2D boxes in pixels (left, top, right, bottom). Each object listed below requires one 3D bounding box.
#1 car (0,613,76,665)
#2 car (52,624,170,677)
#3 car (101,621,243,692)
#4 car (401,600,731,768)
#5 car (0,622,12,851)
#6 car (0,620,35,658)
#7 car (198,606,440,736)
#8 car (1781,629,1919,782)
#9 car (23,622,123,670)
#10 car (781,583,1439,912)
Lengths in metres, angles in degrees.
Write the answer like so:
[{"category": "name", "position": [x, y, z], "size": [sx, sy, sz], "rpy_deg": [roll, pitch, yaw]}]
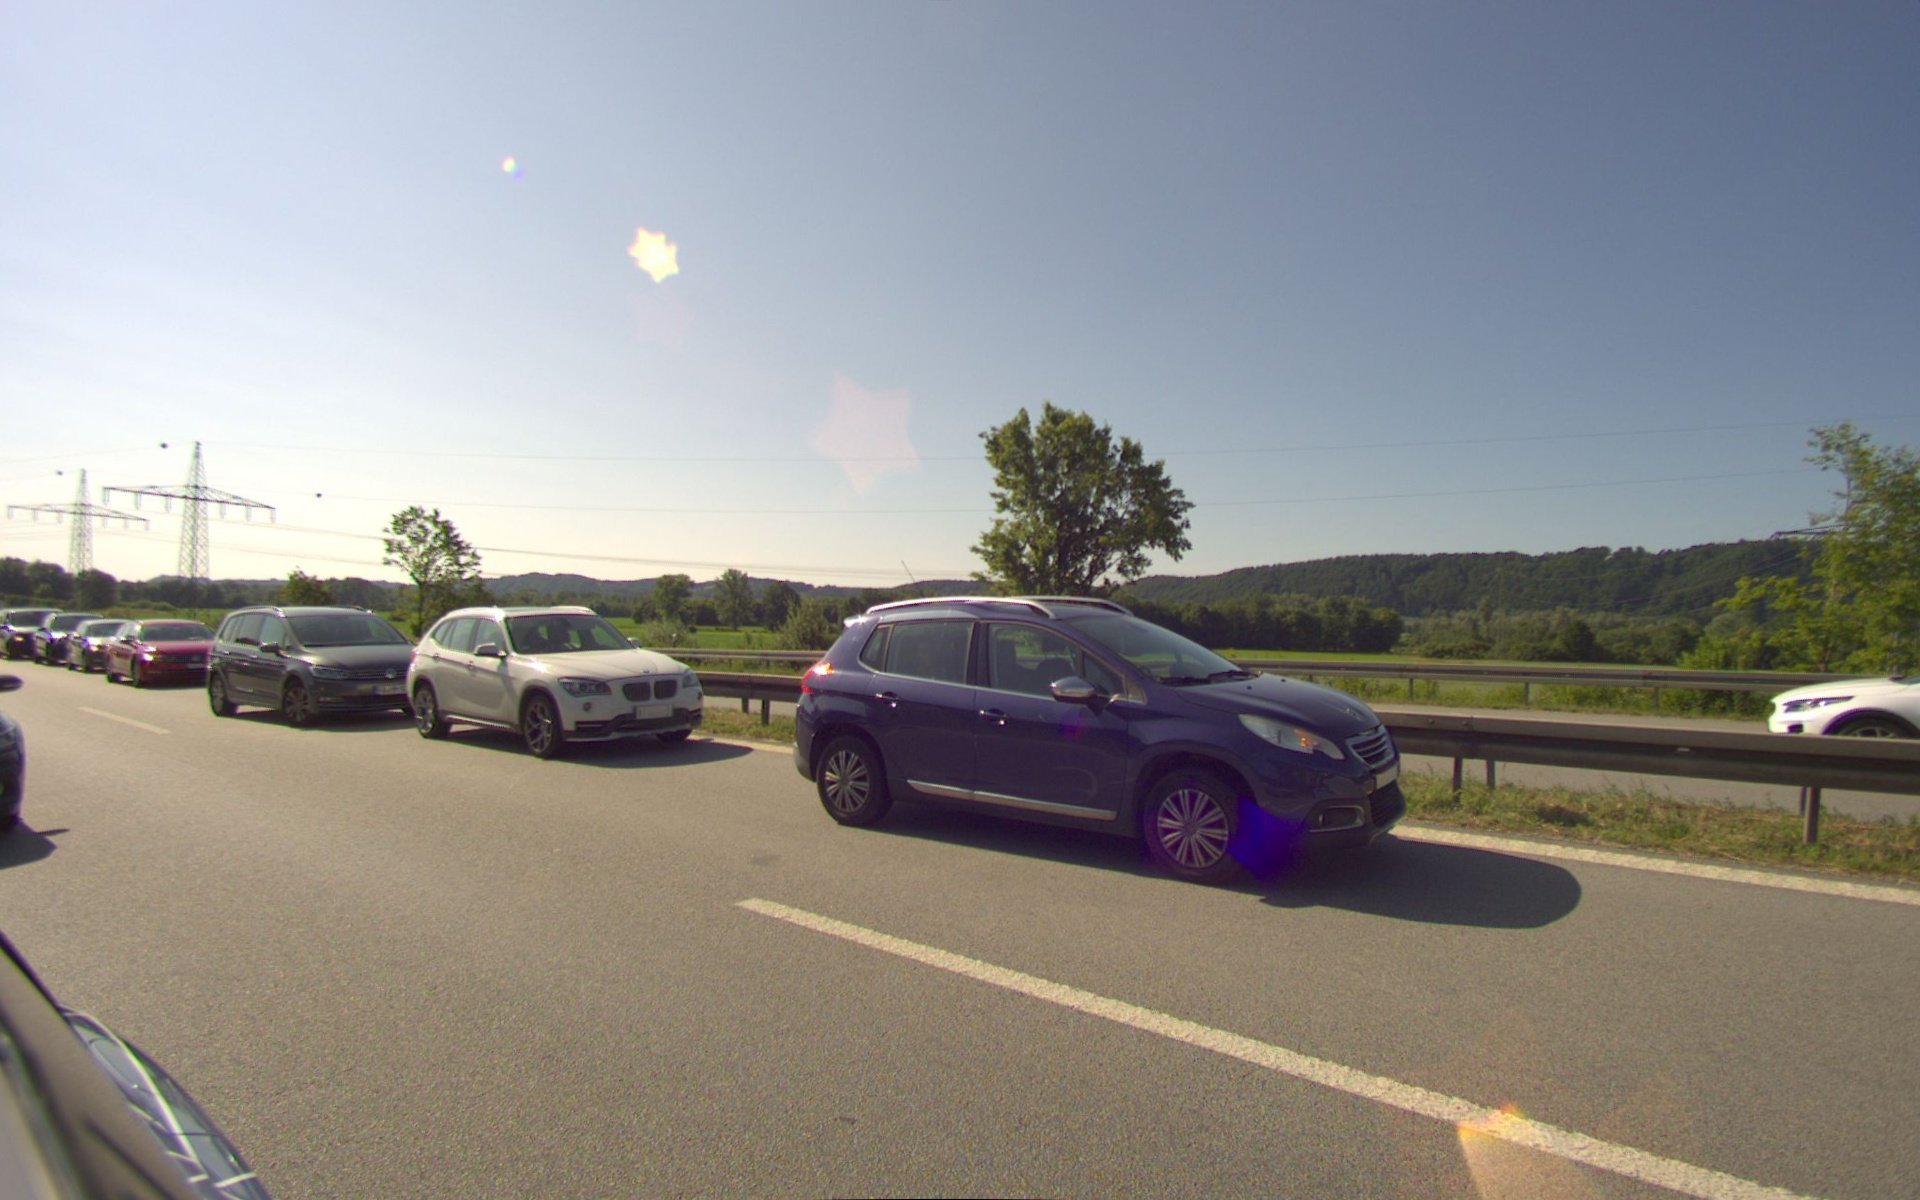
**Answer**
[{"category": "car", "position": [-34.200, 1.408, 37.212], "size": [4.195, 1.801, 1.878], "rpy_deg": [-1, -2, 39]}, {"category": "car", "position": [-24.276, 1.383, 28.888], "size": [3.996, 1.409, 1.871], "rpy_deg": [-1, -2, 39]}, {"category": "car", "position": [-17.915, 1.220, 22.936], "size": [4.116, 1.470, 1.796], "rpy_deg": [-1, -2, 41]}, {"category": "car", "position": [-4.640, 0.841, 11.636], "size": [4.161, 1.586, 1.809], "rpy_deg": [-1, -2, 41]}, {"category": "car", "position": [-8.142, 0.889, 7.115], "size": [4.322, 1.424, 1.695], "rpy_deg": [-1, -1, 40]}, {"category": "car", "position": [-39.812, 1.592, 41.667], "size": [3.996, 1.542, 1.973], "rpy_deg": [-1, -2, 40]}, {"category": "car", "position": [-9.422, 0.927, 14.763], "size": [4.113, 1.628, 1.797], "rpy_deg": [-1, -1, 39]}, {"category": "car", "position": [10.665, 1.018, 9.664], "size": [4.303, 1.437, 1.677], "rpy_deg": [-1, -1, 42]}, {"category": "car", "position": [-28.858, 1.459, 32.897], "size": [3.997, 1.466, 1.870], "rpy_deg": [-1, -2, 40]}, {"category": "car", "position": [0.812, 0.717, 6.620], "size": [3.942, 1.546, 1.672], "rpy_deg": [-1, 0, 37]}]
